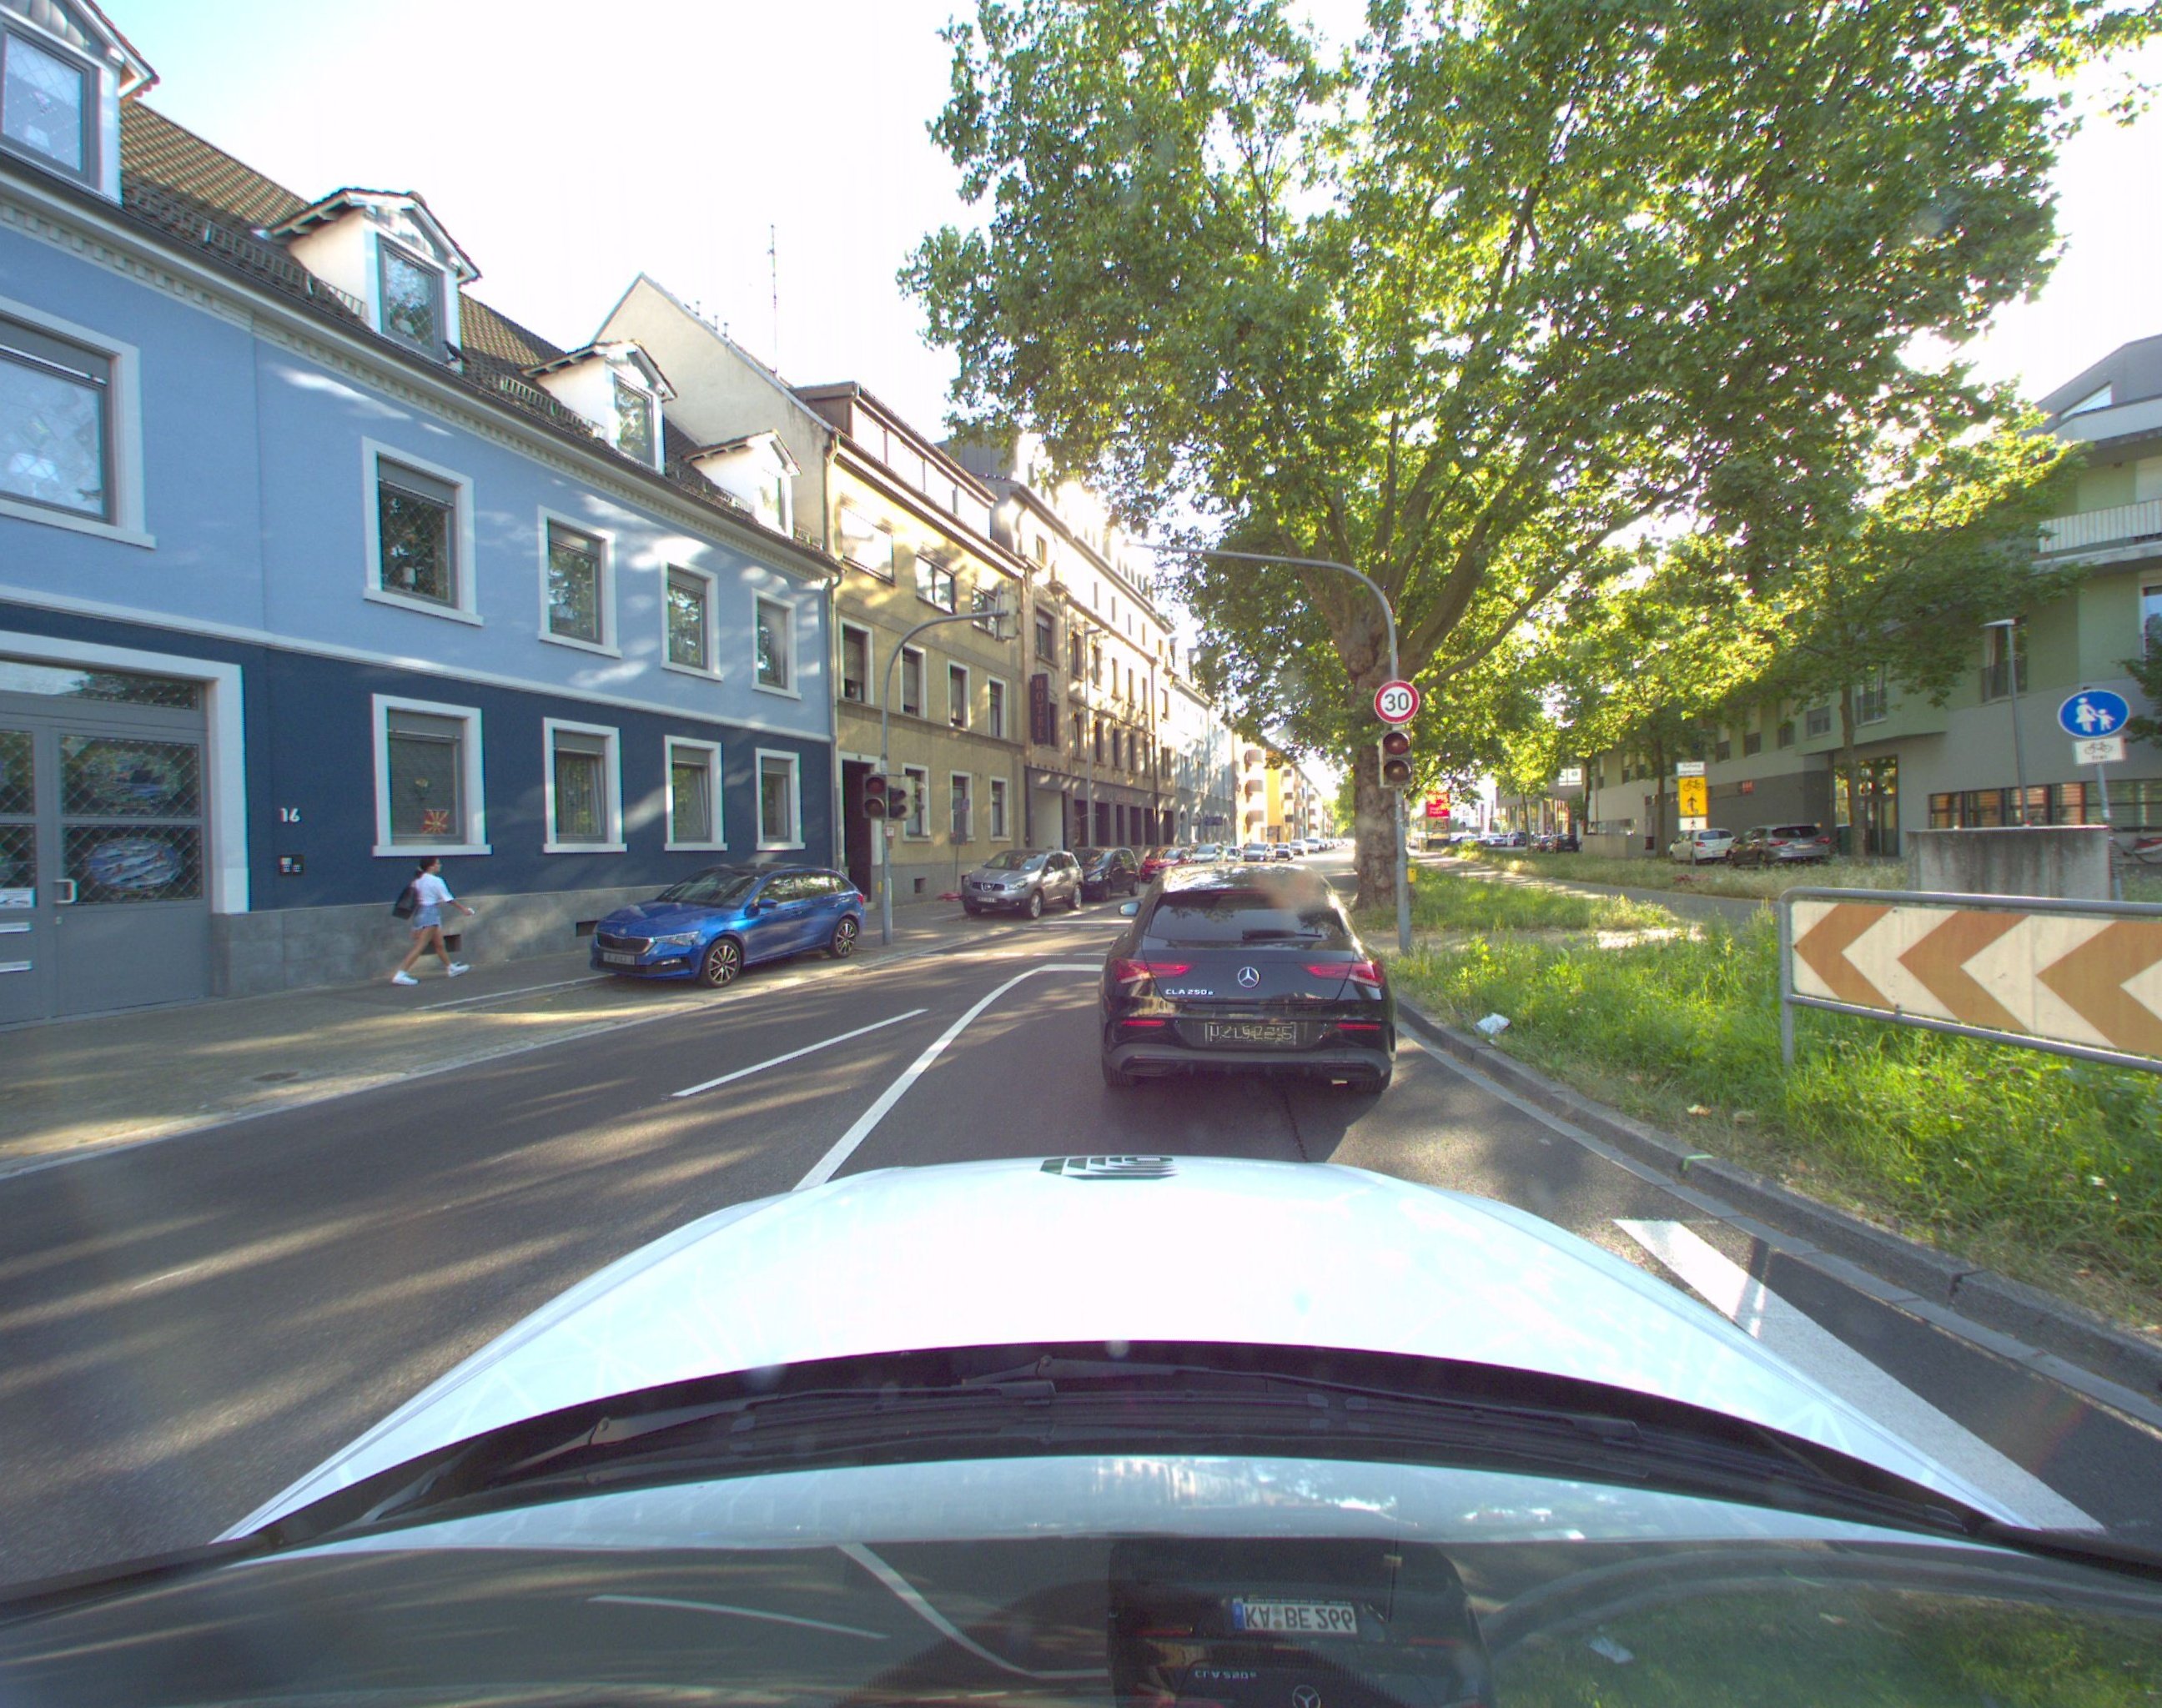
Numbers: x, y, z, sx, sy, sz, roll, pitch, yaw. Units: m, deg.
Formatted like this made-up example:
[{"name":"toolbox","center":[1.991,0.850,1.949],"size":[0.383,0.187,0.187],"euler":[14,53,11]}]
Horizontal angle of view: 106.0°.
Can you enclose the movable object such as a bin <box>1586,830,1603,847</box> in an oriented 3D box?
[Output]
[{"name":"movable object such as a bin","center":[45.106,-1.339,71.538],"size":[1.181,1.463,1.416],"euler":[-1,0,32]}]

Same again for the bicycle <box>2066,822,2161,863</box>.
[{"name":"bicycle","center":[27.535,-0.304,21.616],"size":[1.659,1.018,0.592],"euler":[-2,1,39]}]

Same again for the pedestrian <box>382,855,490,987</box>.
[{"name":"pedestrian","center":[-8.232,0.820,10.408],"size":[0.697,1.570,0.871],"euler":[-1,0,35]}]

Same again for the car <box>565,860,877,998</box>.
[{"name":"car","center":[-4.881,0.890,11.814],"size":[1.636,1.486,4.284],"euler":[0,1,19]}]

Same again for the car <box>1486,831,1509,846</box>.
[{"name":"car","center":[51.154,-1.872,100.036],"size":[1.861,1.733,4.200],"euler":[-2,1,17]}]

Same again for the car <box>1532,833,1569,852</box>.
[{"name":"car","center":[39.078,-0.955,67.877],"size":[1.844,1.468,4.144],"euler":[-2,1,18]}]

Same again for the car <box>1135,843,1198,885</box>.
[{"name":"car","center":[3.612,0.370,33.863],"size":[1.663,1.592,3.776],"euler":[0,1,21]}]

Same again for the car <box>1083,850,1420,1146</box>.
[{"name":"car","center":[1.198,0.724,6.240],"size":[1.734,1.443,3.980],"euler":[0,1,9]}]

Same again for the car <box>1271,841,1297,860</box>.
[{"name":"car","center":[17.302,-0.332,69.272],"size":[1.663,1.486,3.620],"euler":[0,1,21]}]

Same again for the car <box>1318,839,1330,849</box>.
[{"name":"car","center":[37.869,-1.502,126.865],"size":[1.535,1.523,4.024],"euler":[0,1,18]}]

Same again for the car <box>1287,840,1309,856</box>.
[{"name":"car","center":[21.821,-0.633,81.774],"size":[1.663,1.523,4.042],"euler":[0,1,21]}]

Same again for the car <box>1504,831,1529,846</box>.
[{"name":"car","center":[53.007,-1.923,99.229],"size":[1.970,1.733,4.201],"euler":[-2,1,18]}]

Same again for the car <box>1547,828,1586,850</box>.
[{"name":"car","center":[36.557,-1.129,61.456],"size":[1.843,1.552,3.779],"euler":[-2,1,20]}]

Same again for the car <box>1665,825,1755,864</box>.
[{"name":"car","center":[26.754,-0.424,34.812],"size":[1.843,1.542,4.342],"euler":[-2,1,20]}]

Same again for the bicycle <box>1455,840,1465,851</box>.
[{"name":"bicycle","center":[36.832,-0.819,79.172],"size":[0.381,1.003,1.488],"euler":[-2,0,4]}]

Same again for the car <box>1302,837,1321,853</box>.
[{"name":"car","center":[28.596,-1.160,100.856],"size":[1.719,1.906,5.236],"euler":[0,1,21]}]

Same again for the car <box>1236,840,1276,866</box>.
[{"name":"car","center":[11.735,-0.092,54.277],"size":[1.891,1.641,4.602],"euler":[0,1,21]}]

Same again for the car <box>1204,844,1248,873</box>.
[{"name":"car","center":[7.965,0.200,44.479],"size":[1.663,1.496,3.892],"euler":[0,1,21]}]

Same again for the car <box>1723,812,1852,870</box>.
[{"name":"car","center":[23.933,-0.449,27.806],"size":[1.888,1.771,4.342],"euler":[-2,1,20]}]

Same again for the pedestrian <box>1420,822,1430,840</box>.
[{"name":"pedestrian","center":[34.779,-2.342,82.388],"size":[0.763,1.761,0.666],"euler":[-3,0,10]}]

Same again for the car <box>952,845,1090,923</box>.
[{"name":"car","center":[-1.341,0.633,20.186],"size":[1.766,1.672,4.178],"euler":[0,1,21]}]

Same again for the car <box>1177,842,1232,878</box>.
[{"name":"car","center":[5.896,0.233,38.510],"size":[1.663,1.584,4.222],"euler":[0,1,21]}]

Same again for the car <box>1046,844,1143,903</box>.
[{"name":"car","center":[0.484,0.523,24.913],"size":[1.663,1.604,3.726],"euler":[1,1,23]}]

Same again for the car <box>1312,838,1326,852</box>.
[{"name":"car","center":[33.191,-1.284,113.517],"size":[1.731,1.787,4.571],"euler":[0,1,18]}]
